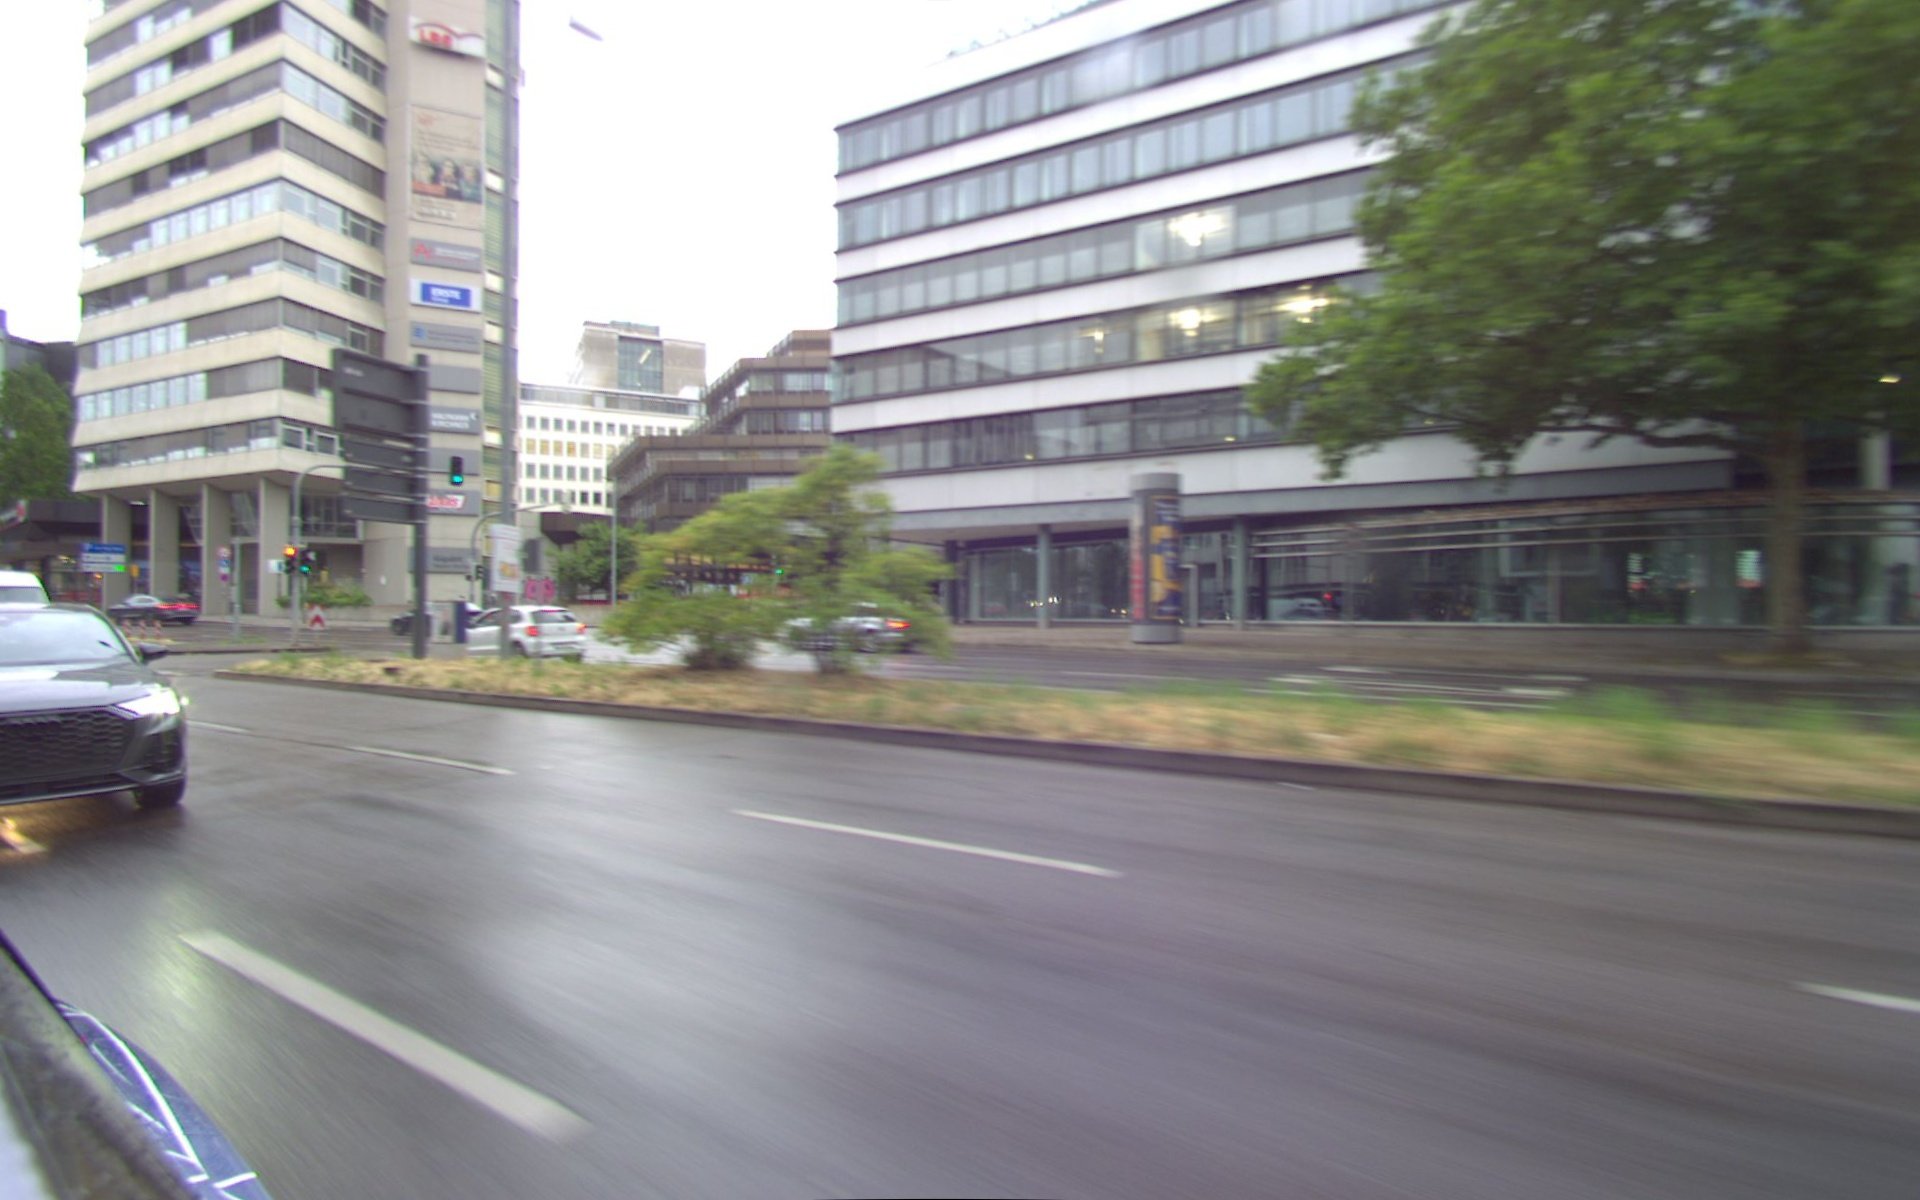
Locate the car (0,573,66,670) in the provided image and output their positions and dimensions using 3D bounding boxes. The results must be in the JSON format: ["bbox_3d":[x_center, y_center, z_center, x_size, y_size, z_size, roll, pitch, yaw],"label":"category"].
[{"bbox_3d":[-25.986,0.511,26.902,5.709,2.403,2.233,0,0,37],"label":"car"}]

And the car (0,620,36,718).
[{"bbox_3d":[-16.901,1.086,16.536,4.116,1.490,1.755,0,0,34],"label":"car"}]

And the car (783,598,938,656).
[{"bbox_3d":[-3.029,0.802,30.378,4.473,1.630,1.976,-2,-1,36],"label":"car"}]

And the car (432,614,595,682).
[{"bbox_3d":[-10.851,1.104,24.534,3.959,1.475,1.738,0,0,33],"label":"car"}]

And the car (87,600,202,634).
[{"bbox_3d":[-40.497,0.833,50.249,5.127,1.597,1.988,0,0,18],"label":"car"}]

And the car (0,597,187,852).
[{"bbox_3d":[-7.540,0.765,7.761,4.387,1.564,1.778,0,0,42],"label":"car"}]
